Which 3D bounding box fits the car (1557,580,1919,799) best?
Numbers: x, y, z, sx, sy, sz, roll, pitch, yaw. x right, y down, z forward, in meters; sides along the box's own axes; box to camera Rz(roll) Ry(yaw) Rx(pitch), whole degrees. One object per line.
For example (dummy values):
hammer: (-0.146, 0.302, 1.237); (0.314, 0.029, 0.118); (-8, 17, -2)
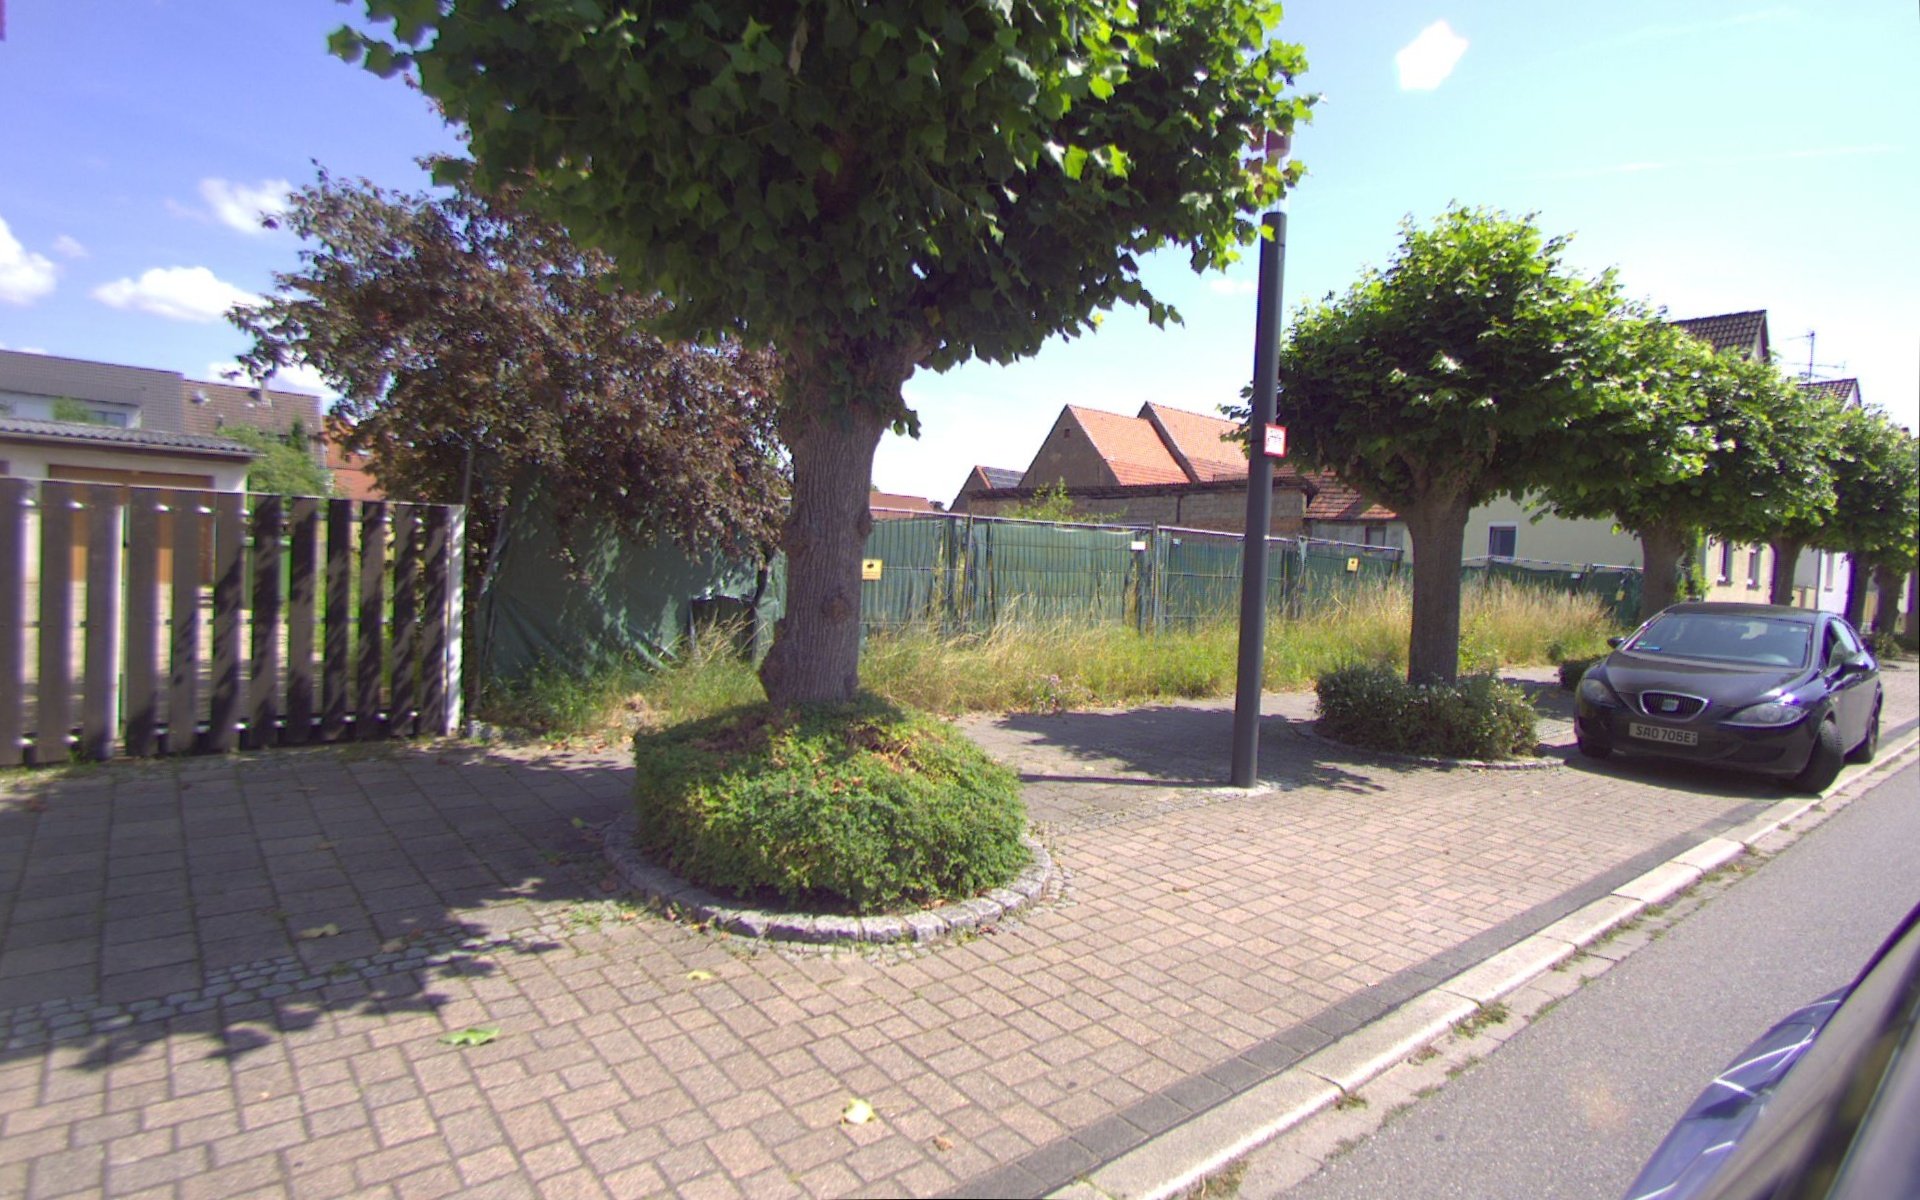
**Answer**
car: (7.276, 0.650, 9.272); (3.985, 1.449, 1.829); (1, 4, -41)
